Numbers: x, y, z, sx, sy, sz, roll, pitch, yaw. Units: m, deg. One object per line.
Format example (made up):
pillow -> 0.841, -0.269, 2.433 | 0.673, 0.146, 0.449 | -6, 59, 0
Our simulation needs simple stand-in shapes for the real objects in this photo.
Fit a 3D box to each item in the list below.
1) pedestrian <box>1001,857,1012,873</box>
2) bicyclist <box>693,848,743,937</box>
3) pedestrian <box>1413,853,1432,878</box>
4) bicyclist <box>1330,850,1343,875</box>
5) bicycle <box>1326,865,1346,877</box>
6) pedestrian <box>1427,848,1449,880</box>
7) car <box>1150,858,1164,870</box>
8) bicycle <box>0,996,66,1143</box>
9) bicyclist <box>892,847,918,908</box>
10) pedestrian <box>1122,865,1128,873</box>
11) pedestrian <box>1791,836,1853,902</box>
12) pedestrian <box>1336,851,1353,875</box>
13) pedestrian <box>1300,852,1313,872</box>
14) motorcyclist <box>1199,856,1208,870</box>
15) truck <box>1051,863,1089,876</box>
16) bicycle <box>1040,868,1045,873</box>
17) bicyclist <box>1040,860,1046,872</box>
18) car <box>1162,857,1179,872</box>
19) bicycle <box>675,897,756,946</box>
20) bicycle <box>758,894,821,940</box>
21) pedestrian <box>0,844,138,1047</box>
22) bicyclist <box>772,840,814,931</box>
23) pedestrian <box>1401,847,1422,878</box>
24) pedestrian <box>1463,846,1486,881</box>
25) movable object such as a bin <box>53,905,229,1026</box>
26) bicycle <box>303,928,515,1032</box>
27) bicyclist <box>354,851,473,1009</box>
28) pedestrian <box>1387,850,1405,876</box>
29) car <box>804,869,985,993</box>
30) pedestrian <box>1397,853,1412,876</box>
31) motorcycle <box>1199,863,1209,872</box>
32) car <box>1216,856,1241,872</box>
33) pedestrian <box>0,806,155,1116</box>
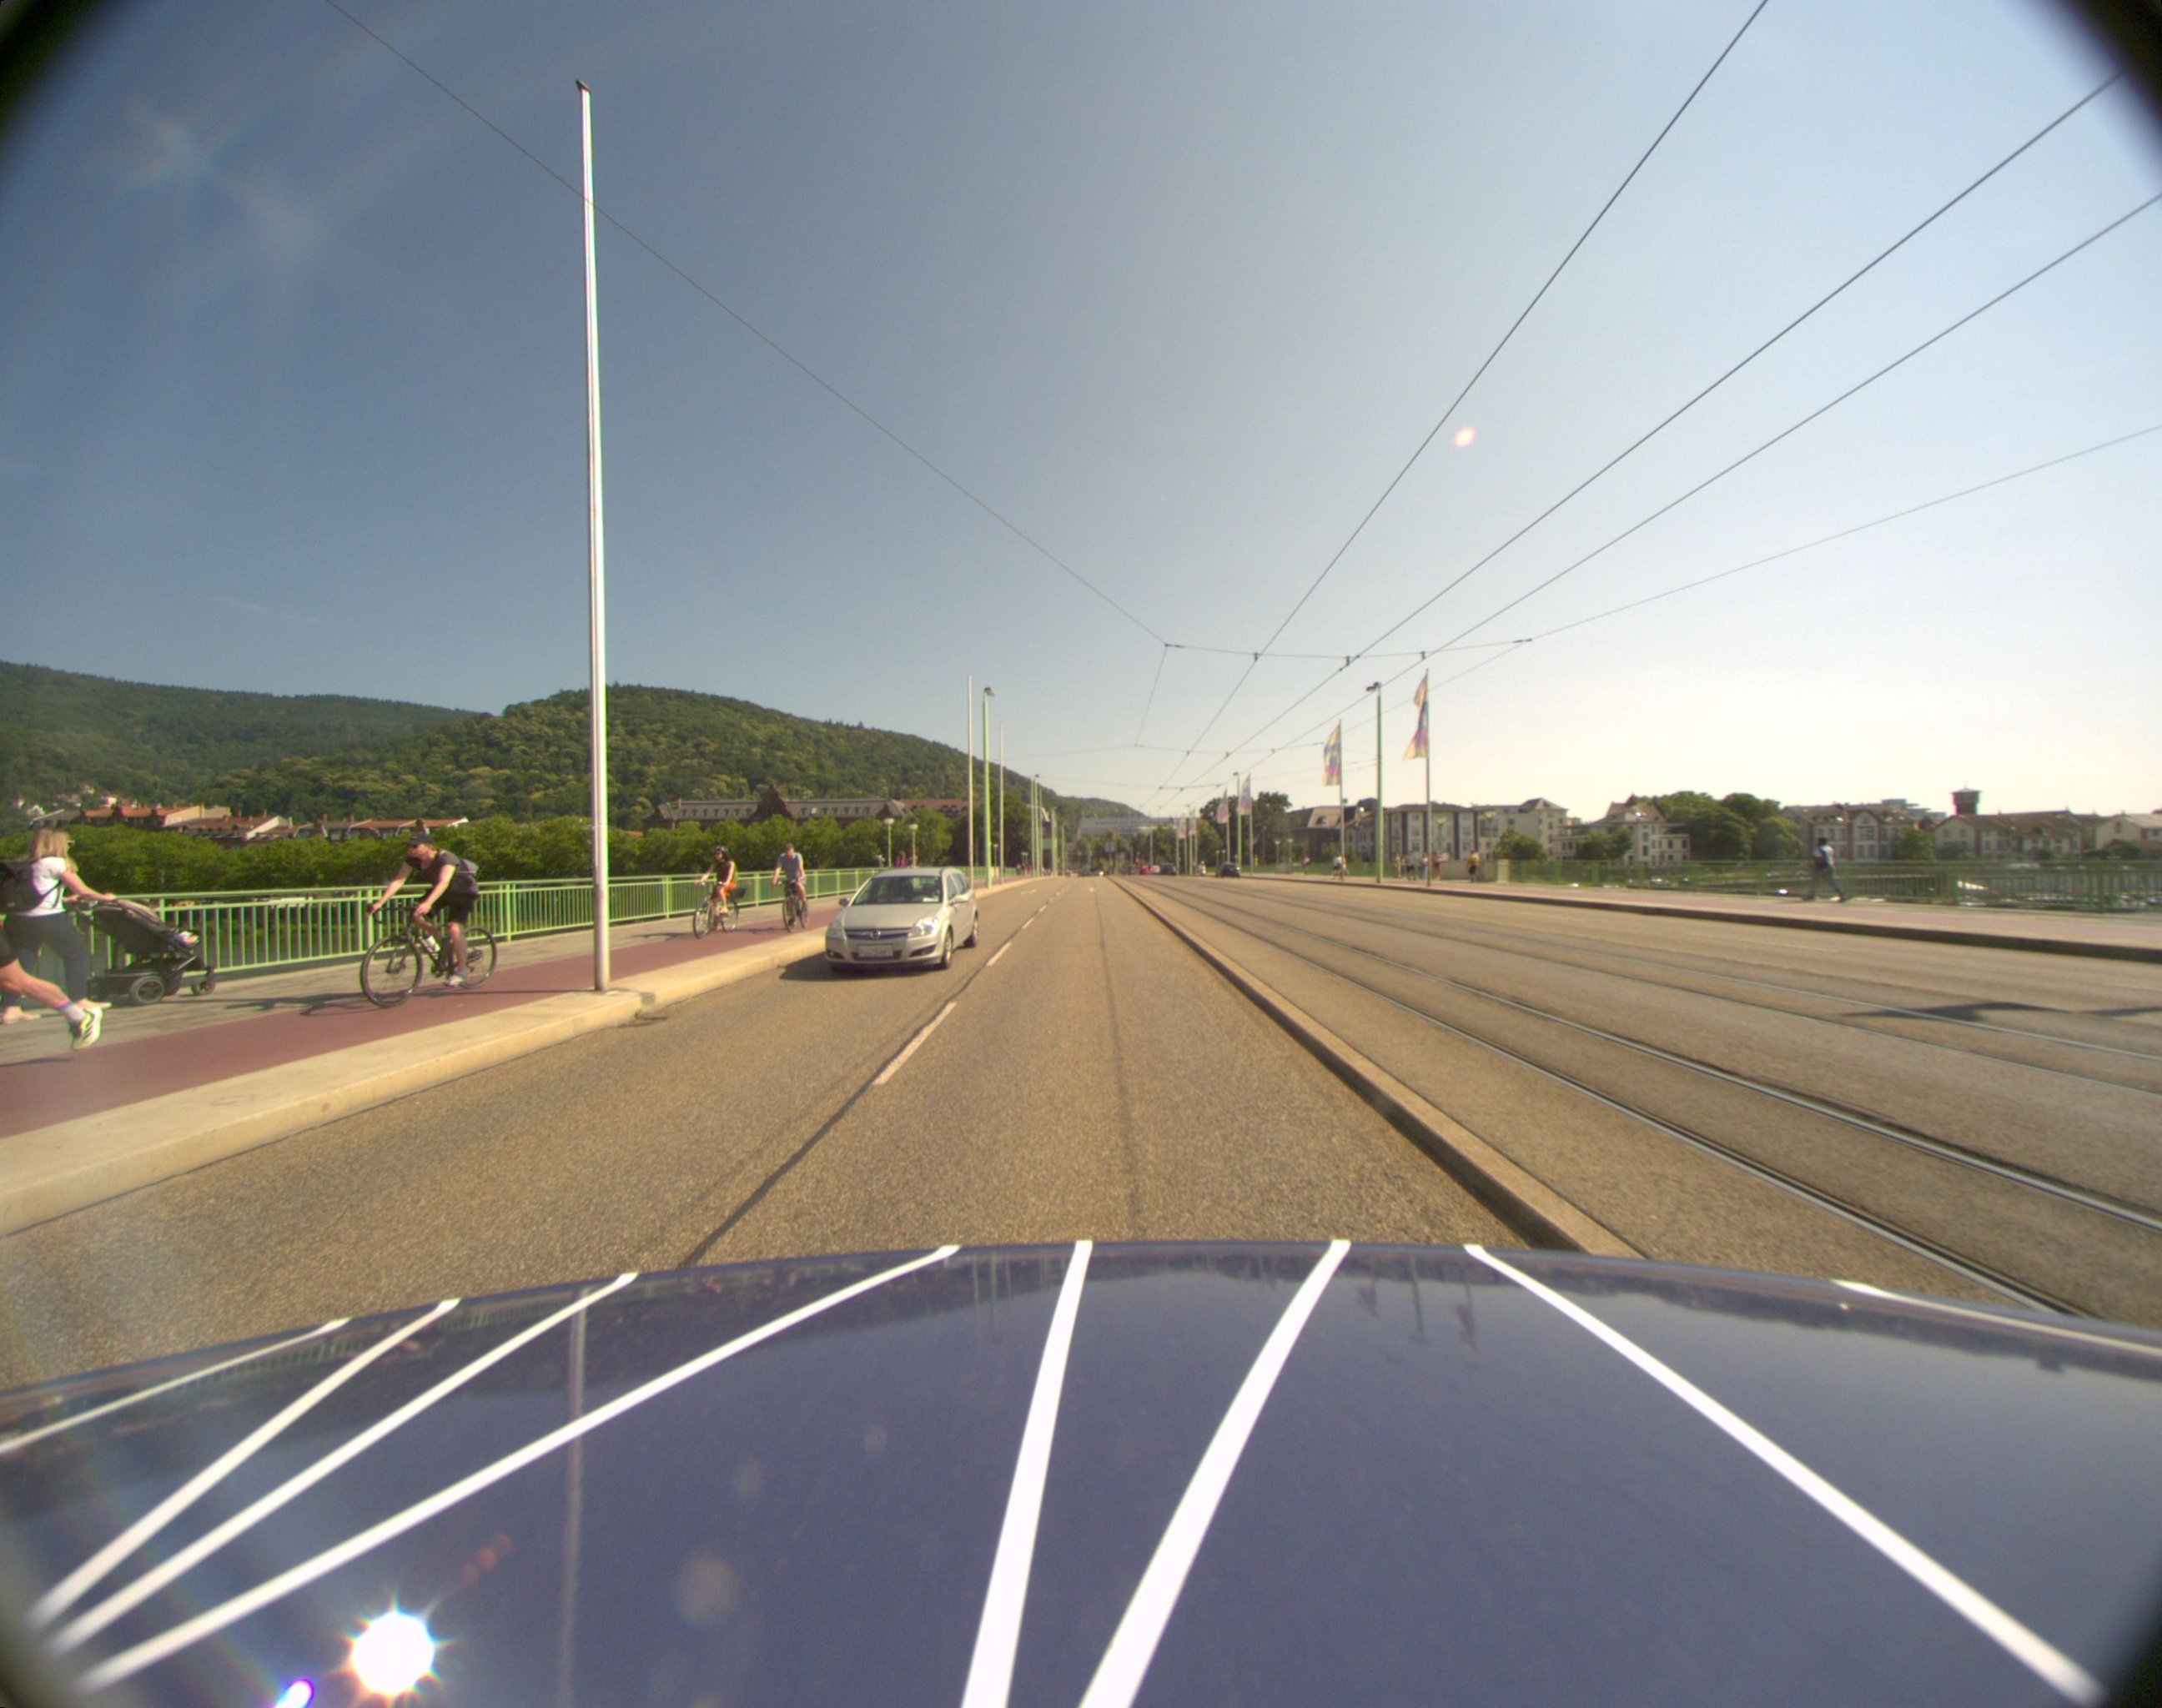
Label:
pedestrian -> -7.712, 1.130, 78.419 | 0.950, 1.653, 1.082 | 1, 0, 1
bicyclist -> -6.854, 0.715, 14.376 | 0.606, 1.641, 0.702 | 0, 1, 2
pedestrian -> 19.254, 0.648, 42.857 | 0.592, 1.406, 1.022 | -3, 0, 1
bicyclist -> 16.981, 0.570, 50.513 | 0.666, 1.641, 0.622 | -1, 0, 2
bicycle -> 16.994, 1.110, 50.669 | 0.667, 0.712, 2.173 | -1, 0, 1
pedestrian -> 19.384, 0.527, 41.290 | 0.686, 1.680, 1.022 | -3, 0, 1
car -> 11.660, 1.473, 117.102 | 1.814, 1.611, 4.000 | -5, 0, 2
bicycle -> -6.250, 1.214, 3.530 | 0.595, 0.761, 1.866 | 0, 0, -2
bicyclist -> -5.148, 0.675, 22.250 | 0.587, 1.759, 0.672 | 0, 1, 1
pedestrian -> 11.584, 3.823, 198.587 | 1.037, 2.002, 1.199 | -4, 2, -42
pedestrian -> 19.652, 0.395, 20.162 | 0.592, 1.690, 1.022 | -3, 0, 1
pedestrian -> 19.044, 0.634, 54.967 | 0.787, 1.690, 1.022 | -3, 0, 1
pedestrian -> 20.381, 0.720, 68.706 | 0.787, 1.690, 1.022 | -3, 0, 1
motorcyclist -> 14.264, 1.065, 88.468 | 0.739, 1.504, 0.729 | -5, 1, 0
truck -> -2.222, 3.284, 161.481 | 7.683, 2.248, 2.663 | -5, 0, 5
bicycle -> -5.393, 2.321, 107.601 | 0.595, 0.761, 1.866 | 0, 0, 1
bicyclist -> -5.419, 1.655, 107.667 | 0.731, 1.655, 0.844 | -2, 0, 1
car -> 11.656, 1.328, 99.325 | 1.714, 1.686, 4.000 | -5, 0, 2
bicycle -> -6.858, 1.246, 14.348 | 0.595, 0.761, 1.866 | 0, 0, 1
bicycle -> -5.818, 1.236, 15.255 | 0.595, 0.761, 1.866 | 0, 0, -2
pedestrian -> -9.279, 0.760, 6.769 | 0.664, 1.696, 0.859 | 0, 1, 1
bicyclist -> -5.811, 0.623, 15.334 | 0.588, 1.809, 0.702 | 0, 1, -2
pedestrian -> 18.650, 0.490, 42.921 | 0.671, 1.690, 1.022 | -3, 0, 1
pedestrian -> 19.861, 0.478, 38.355 | 0.592, 1.690, 1.022 | -3, 0, 1
movable object such as a bin -> -9.346, 1.079, 7.599 | 0.583, 1.084, 0.933 | 0, 0, 0
bicycle -> -6.793, 1.239, 7.830 | 0.595, 0.761, 1.831 | 0, 0, -2
bicyclist -> -6.791, 0.742, 7.765 | 0.588, 1.550, 0.702 | 0, 1, -1
pedestrian -> 19.707, 0.579, 47.521 | 0.627, 1.590, 1.022 | -3, 0, 1
car -> -2.704, 1.047, 12.069 | 1.710, 1.457, 4.326 | -2, 0, 1
pedestrian -> 20.357, 0.672, 47.751 | 0.547, 1.429, 0.789 | -3, 0, 1
motorcycle -> 14.301, 1.552, 88.442 | 0.735, 0.884, 2.145 | -5, 0, 1
car -> 13.981, 0.946, 72.019 | 1.672, 1.428, 4.000 | 0, 1, 2
pedestrian -> -7.074, 0.661, 4.893 | 0.813, 1.913, 1.127 | 0, 1, 1
